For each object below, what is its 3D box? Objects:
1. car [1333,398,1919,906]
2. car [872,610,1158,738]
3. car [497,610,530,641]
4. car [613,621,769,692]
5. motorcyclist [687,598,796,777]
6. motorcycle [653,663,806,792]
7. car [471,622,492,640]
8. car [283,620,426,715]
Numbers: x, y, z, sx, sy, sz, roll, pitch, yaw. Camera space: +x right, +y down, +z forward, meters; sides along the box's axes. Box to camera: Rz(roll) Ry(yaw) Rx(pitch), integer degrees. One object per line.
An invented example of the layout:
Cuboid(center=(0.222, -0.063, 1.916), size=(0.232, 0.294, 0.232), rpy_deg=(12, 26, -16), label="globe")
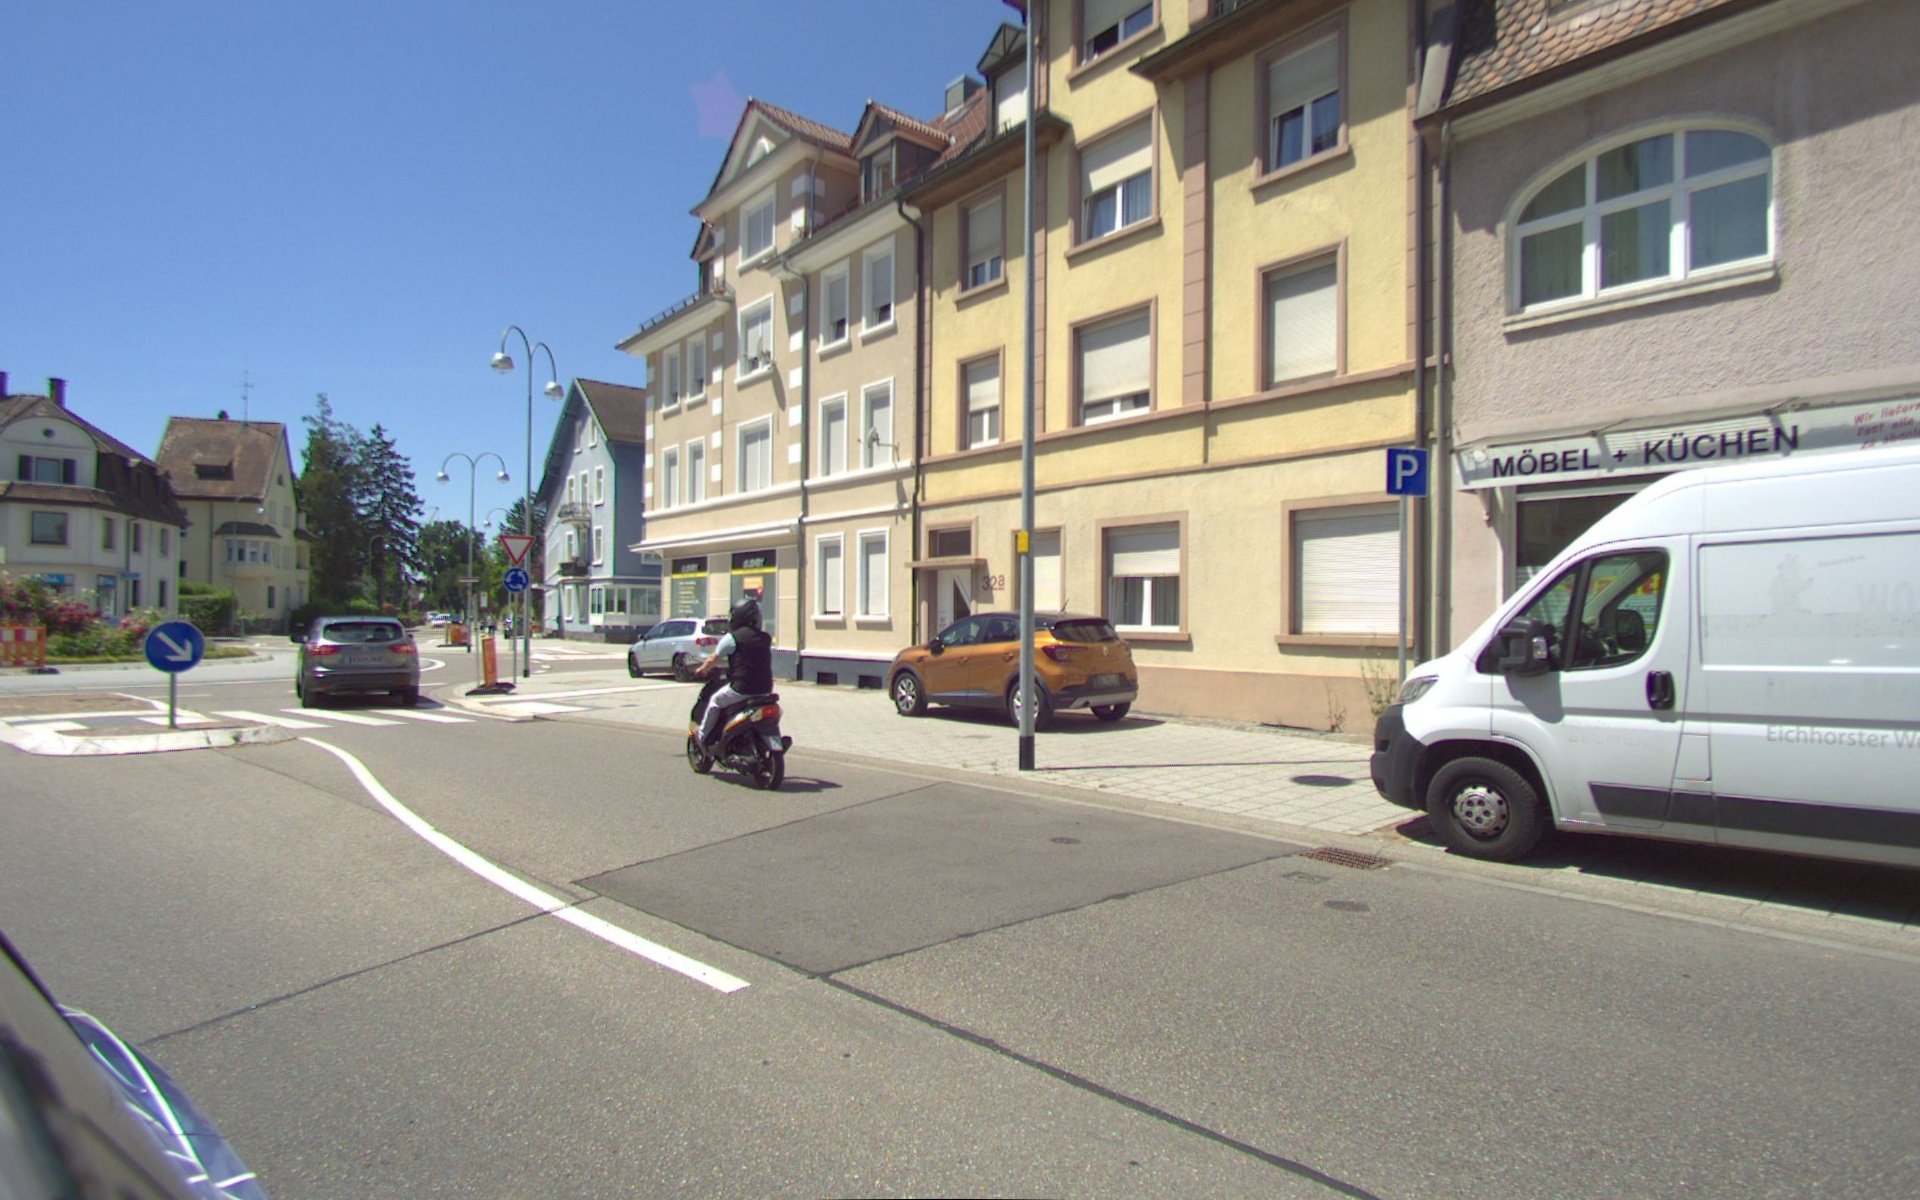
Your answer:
Cuboid(center=(5.467, 0.235, 5.580), size=(2.093, 2.468, 6.127), rpy_deg=(-1, 0, -40), label="car")
Cuboid(center=(0.648, 0.953, 14.576), size=(1.772, 1.553, 4.122), rpy_deg=(0, -1, -39), label="car")
Cuboid(center=(-30.199, 1.715, 68.539), size=(1.965, 1.861, 4.014), rpy_deg=(1, 2, -23), label="car")
Cuboid(center=(-6.603, 1.286, 24.412), size=(1.772, 1.514, 4.955), rpy_deg=(0, -1, -39), label="car")
Cuboid(center=(-1.997, 0.759, 9.207), size=(0.594, 1.536, 0.897), rpy_deg=(2, -2, -42), label="motorcyclist")
Cuboid(center=(-2.174, 1.124, 9.380), size=(0.598, 1.008, 1.802), rpy_deg=(1, -2, -41), label="motorcycle")
Cuboid(center=(-55.247, 3.562, 116.898), size=(1.965, 1.861, 4.014), rpy_deg=(2, 1, -23), label="car")
Cuboid(center=(-11.359, 1.179, 18.836), size=(1.772, 1.500, 4.400), rpy_deg=(3, -3, -37), label="car")
